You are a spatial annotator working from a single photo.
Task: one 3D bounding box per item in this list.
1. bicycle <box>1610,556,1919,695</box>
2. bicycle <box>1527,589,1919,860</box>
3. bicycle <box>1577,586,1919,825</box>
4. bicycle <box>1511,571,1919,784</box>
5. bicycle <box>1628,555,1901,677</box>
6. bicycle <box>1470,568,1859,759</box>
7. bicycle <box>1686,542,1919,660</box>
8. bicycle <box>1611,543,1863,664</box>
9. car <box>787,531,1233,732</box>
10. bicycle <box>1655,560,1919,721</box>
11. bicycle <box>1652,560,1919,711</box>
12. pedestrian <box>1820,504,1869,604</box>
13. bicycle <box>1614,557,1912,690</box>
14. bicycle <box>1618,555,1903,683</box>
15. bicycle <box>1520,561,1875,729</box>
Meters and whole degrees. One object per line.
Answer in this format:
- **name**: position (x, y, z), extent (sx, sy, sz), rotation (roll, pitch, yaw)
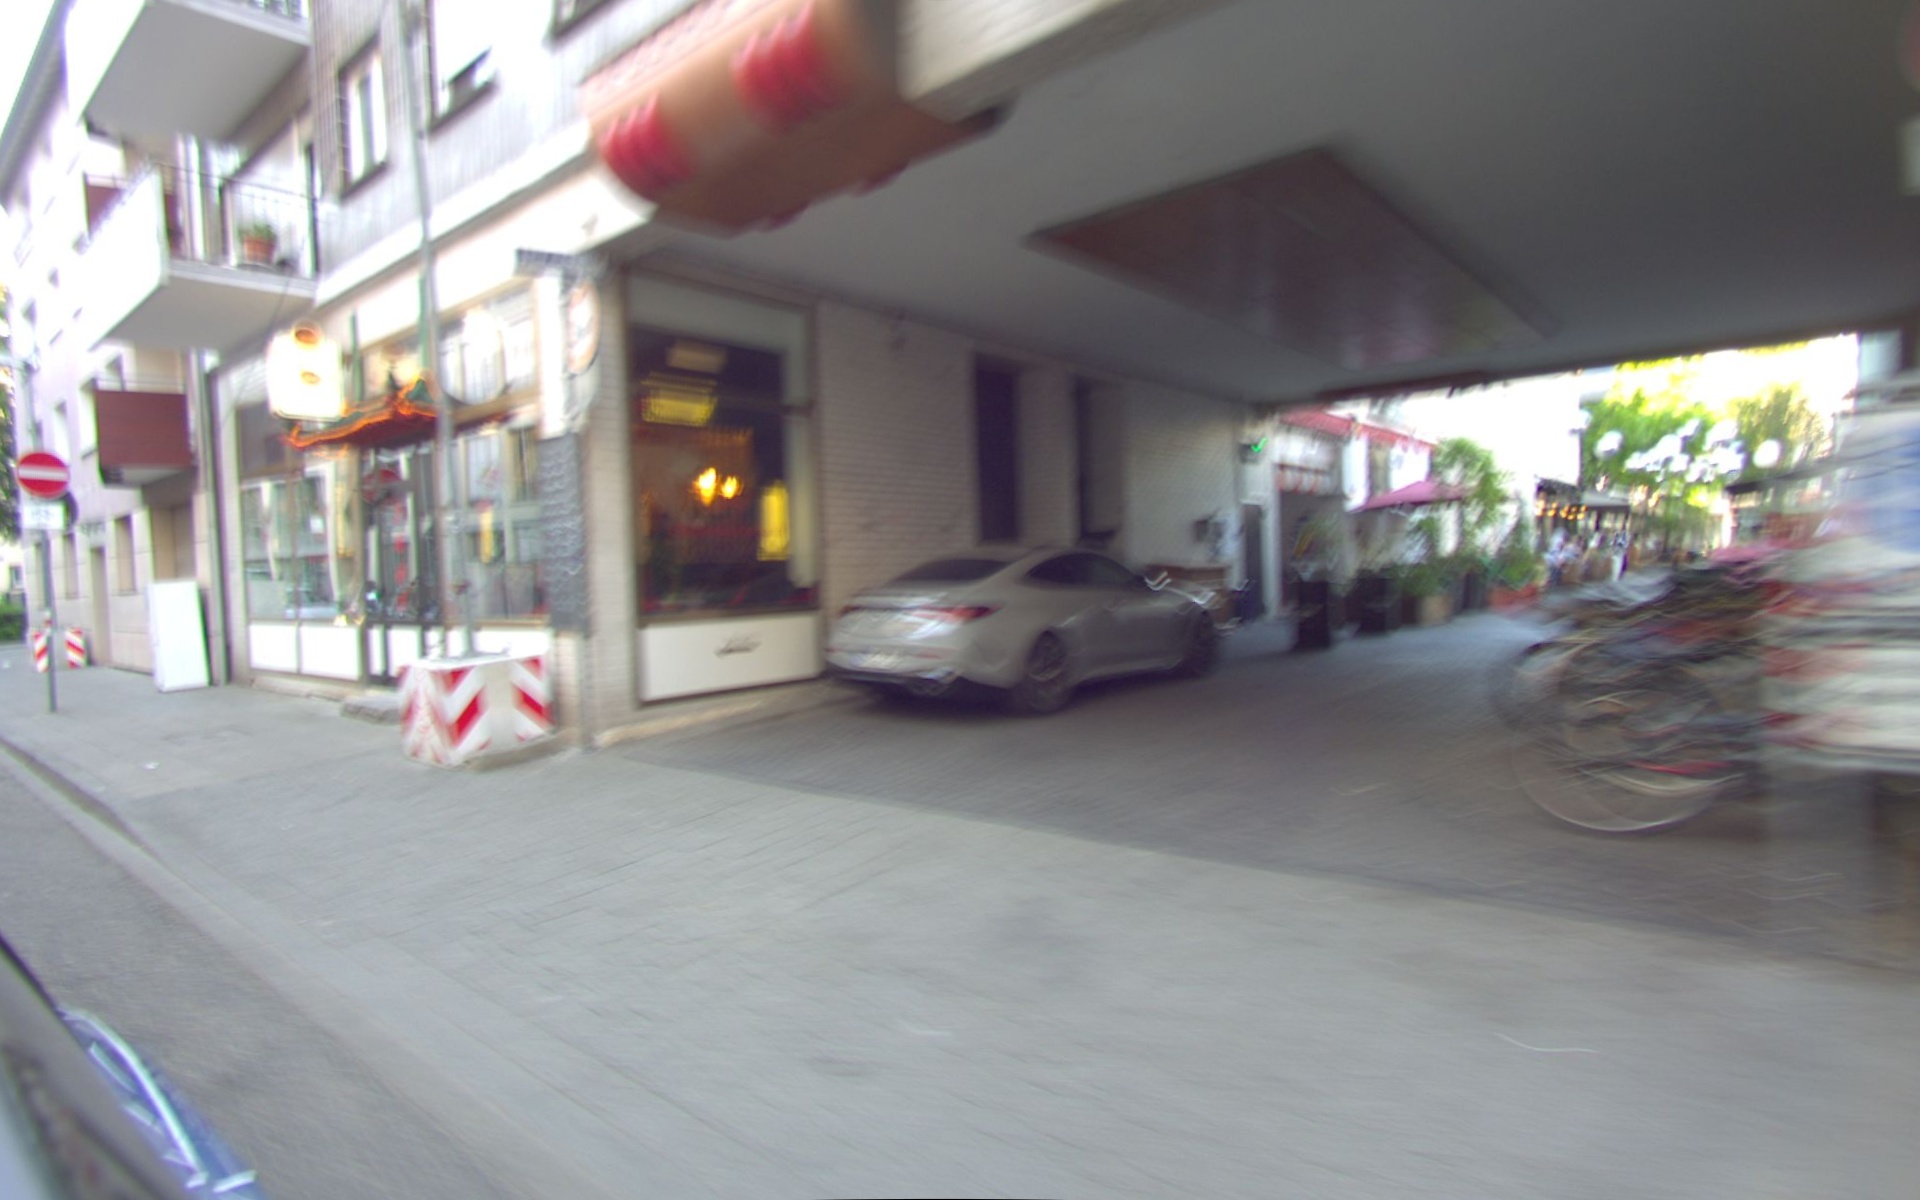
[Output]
- **bicycle**: position (6.110, 0.202, 7.799), extent (1.794, 0.968, 0.374), rotation (-2, 1, 38)
- **bicycle**: position (3.202, 0.469, 4.107), extent (1.500, 0.968, 0.374), rotation (-2, 1, 38)
- **bicycle**: position (3.698, 0.447, 4.565), extent (1.500, 0.968, 0.374), rotation (-2, 1, 38)
- **bicycle**: position (3.922, 0.379, 5.260), extent (1.794, 0.968, 0.374), rotation (-2, 1, 38)
- **bicycle**: position (6.900, 0.151, 8.784), extent (1.794, 0.968, 0.374), rotation (-2, 1, 38)
- **bicycle**: position (4.019, 0.350, 5.904), extent (1.795, 0.968, 0.373), rotation (-2, 1, 41)
- **bicycle**: position (8.113, 0.025, 9.714), extent (1.790, 1.046, 0.448), rotation (-3, 1, 31)
- **bicycle**: position (7.216, 0.048, 9.503), extent (1.790, 1.046, 0.448), rotation (-3, 1, 31)
- **car**: position (0.699, 0.128, 9.491), extent (2.018, 1.432, 4.273), rotation (-1, 2, 39)
- **bicycle**: position (5.508, 0.263, 6.655), extent (1.500, 0.968, 0.374), rotation (-2, 1, 38)
- **bicycle**: position (5.784, 0.248, 7.088), extent (1.500, 0.968, 0.374), rotation (-2, 1, 38)
- **pedestrian**: position (16.436, -0.848, 18.800), extent (0.644, 1.821, 0.739), rotation (-1, 2, 44)
- **bicycle**: position (6.331, 0.193, 8.087), extent (1.794, 0.968, 0.374), rotation (-2, 1, 38)
- **bicycle**: position (6.567, 0.167, 8.406), extent (1.794, 0.968, 0.374), rotation (-2, 1, 38)
- **bicycle**: position (4.712, 0.283, 6.587), extent (1.794, 0.968, 0.374), rotation (-2, 1, 39)
